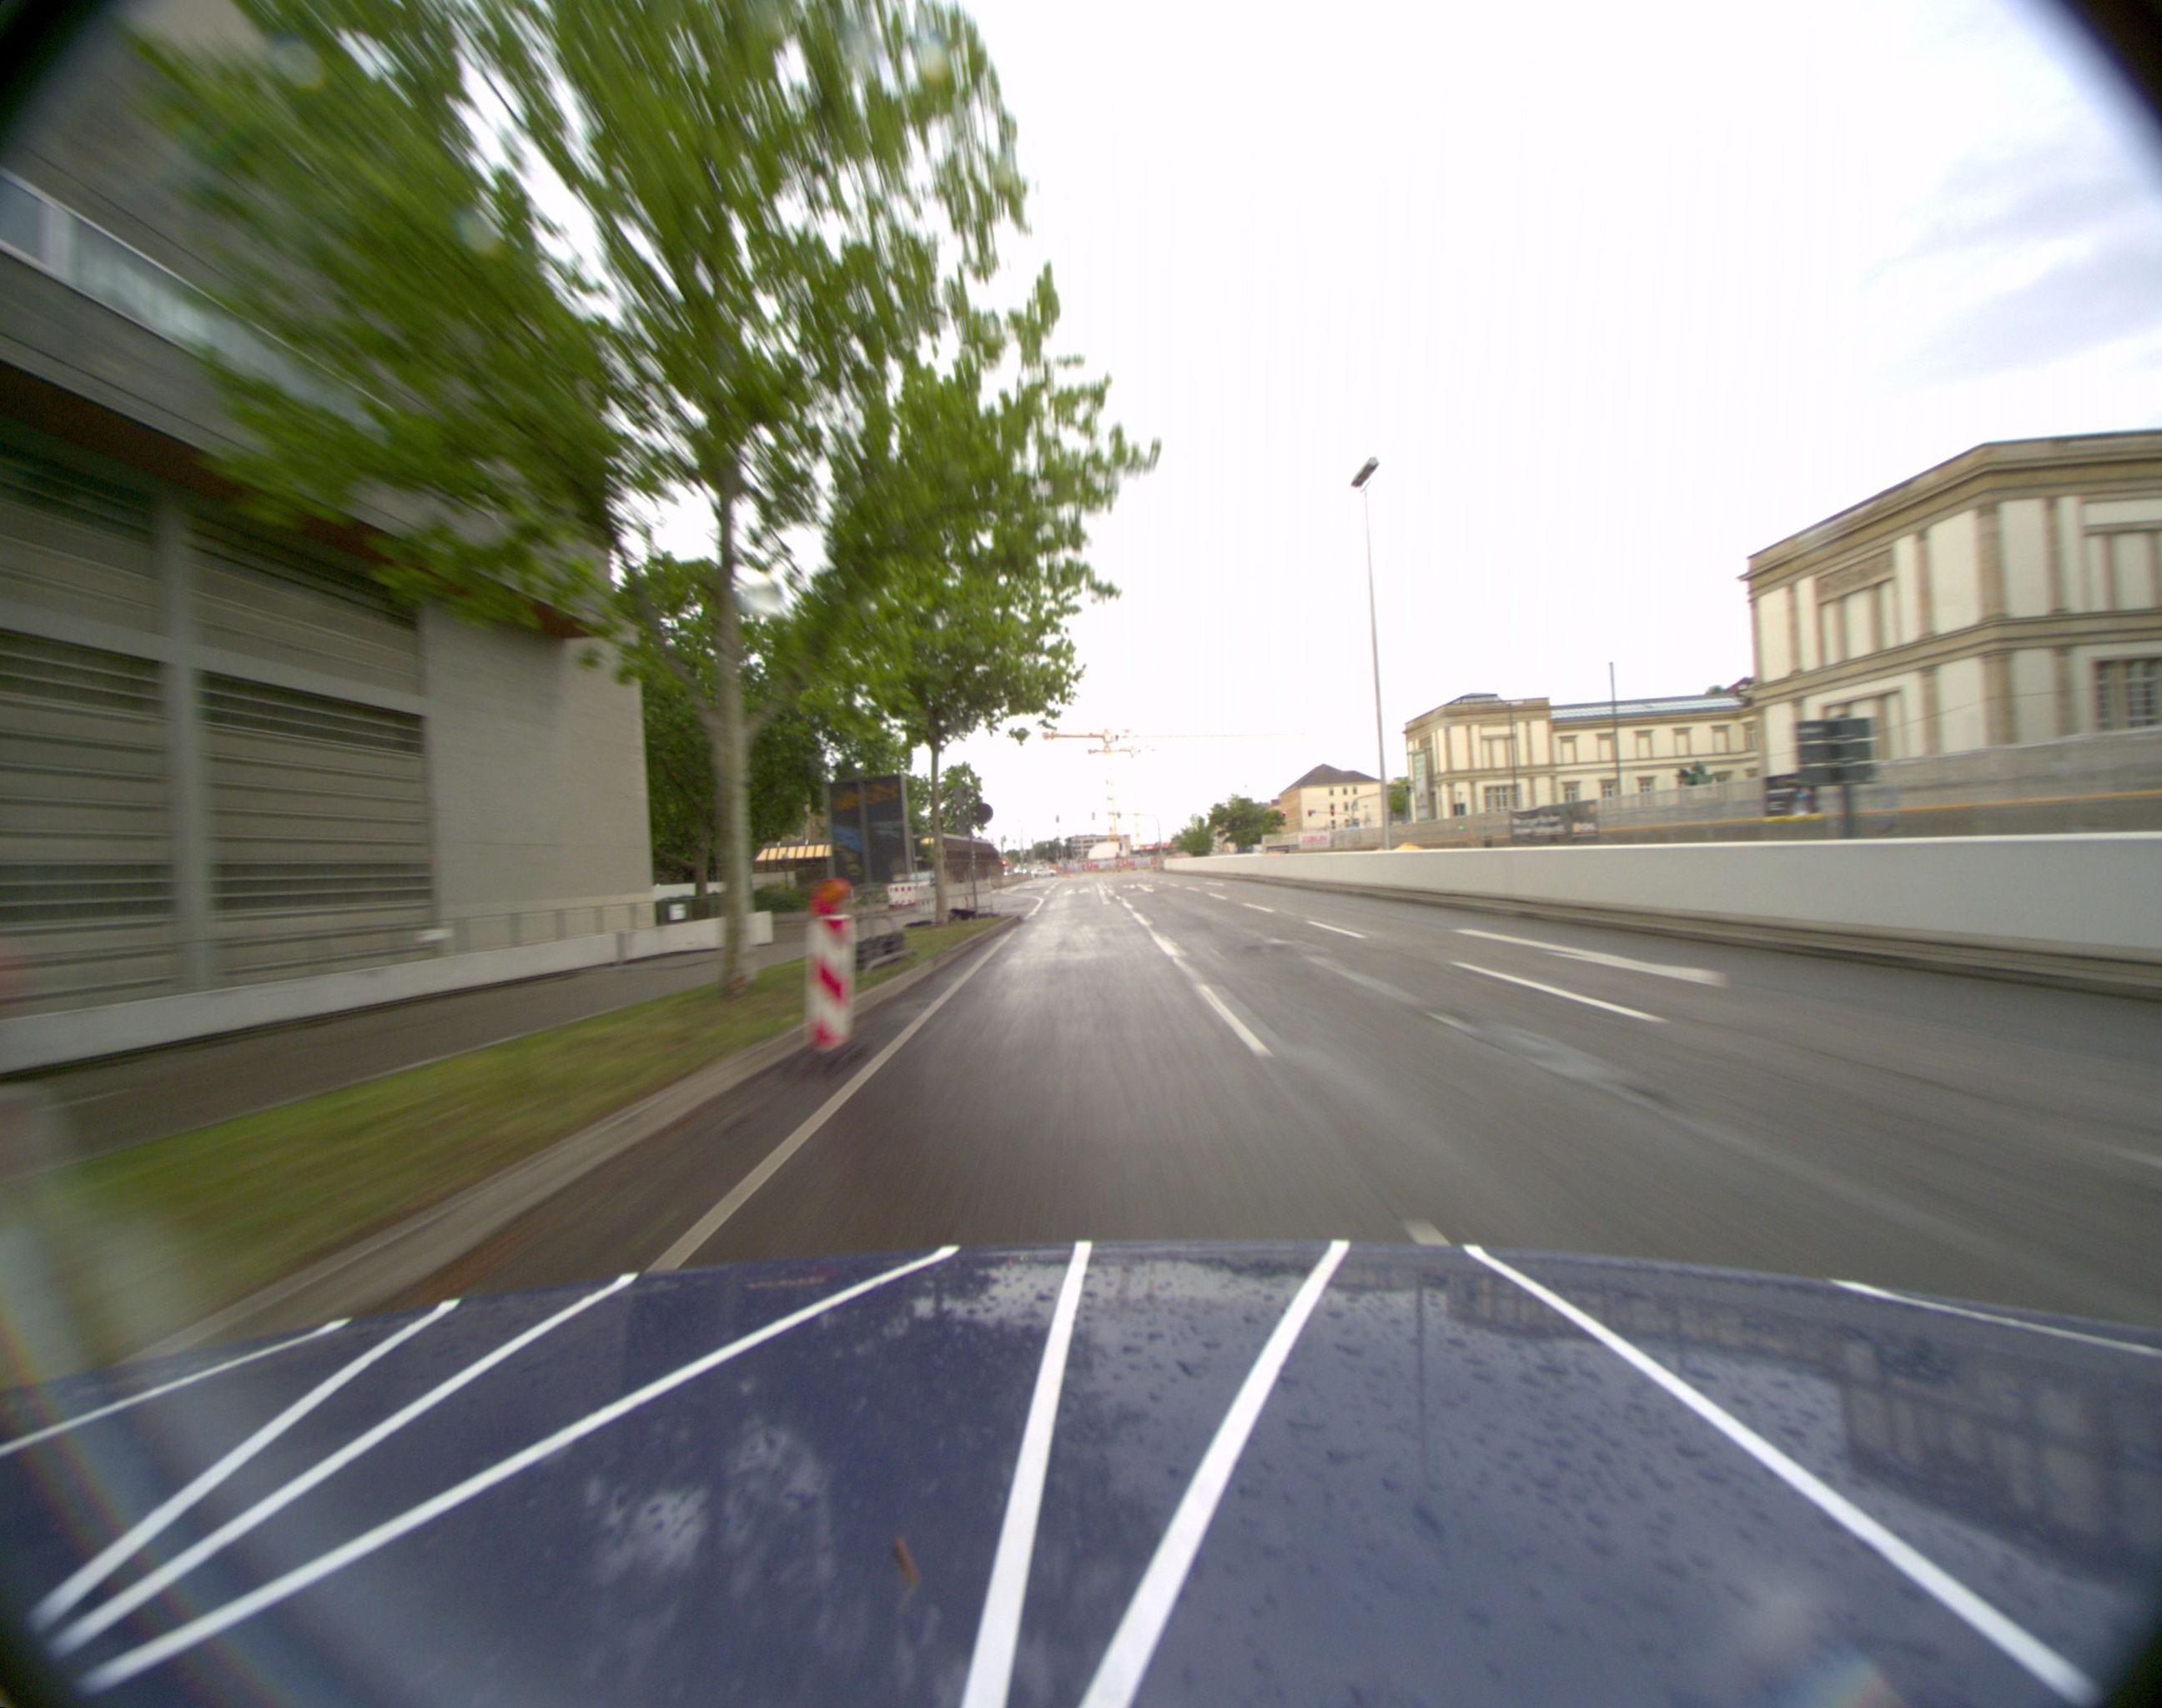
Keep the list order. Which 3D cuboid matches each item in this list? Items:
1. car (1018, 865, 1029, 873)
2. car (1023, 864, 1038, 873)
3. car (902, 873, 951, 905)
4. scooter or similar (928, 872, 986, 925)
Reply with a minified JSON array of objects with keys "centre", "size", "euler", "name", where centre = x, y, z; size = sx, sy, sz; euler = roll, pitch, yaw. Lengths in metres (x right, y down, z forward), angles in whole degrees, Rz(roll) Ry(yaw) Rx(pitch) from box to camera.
[{"centre":[-13.396,3.469,176.068],"size":[2.000,1.548,4.522],"euler":[-6,-1,-9],"name":"car"},{"centre":[-10.788,3.119,162.109],"size":[2.001,1.707,4.417],"euler":[-6,-1,-20],"name":"car"},{"centre":[-9.515,2.113,47.189],"size":[1.808,1.544,4.325],"euler":[1,3,6],"name":"car"},{"centre":[-3.518,1.261,21.679],"size":[1.359,1.278,0.619],"euler":[-8,2,2],"name":"scooter or similar"}]
